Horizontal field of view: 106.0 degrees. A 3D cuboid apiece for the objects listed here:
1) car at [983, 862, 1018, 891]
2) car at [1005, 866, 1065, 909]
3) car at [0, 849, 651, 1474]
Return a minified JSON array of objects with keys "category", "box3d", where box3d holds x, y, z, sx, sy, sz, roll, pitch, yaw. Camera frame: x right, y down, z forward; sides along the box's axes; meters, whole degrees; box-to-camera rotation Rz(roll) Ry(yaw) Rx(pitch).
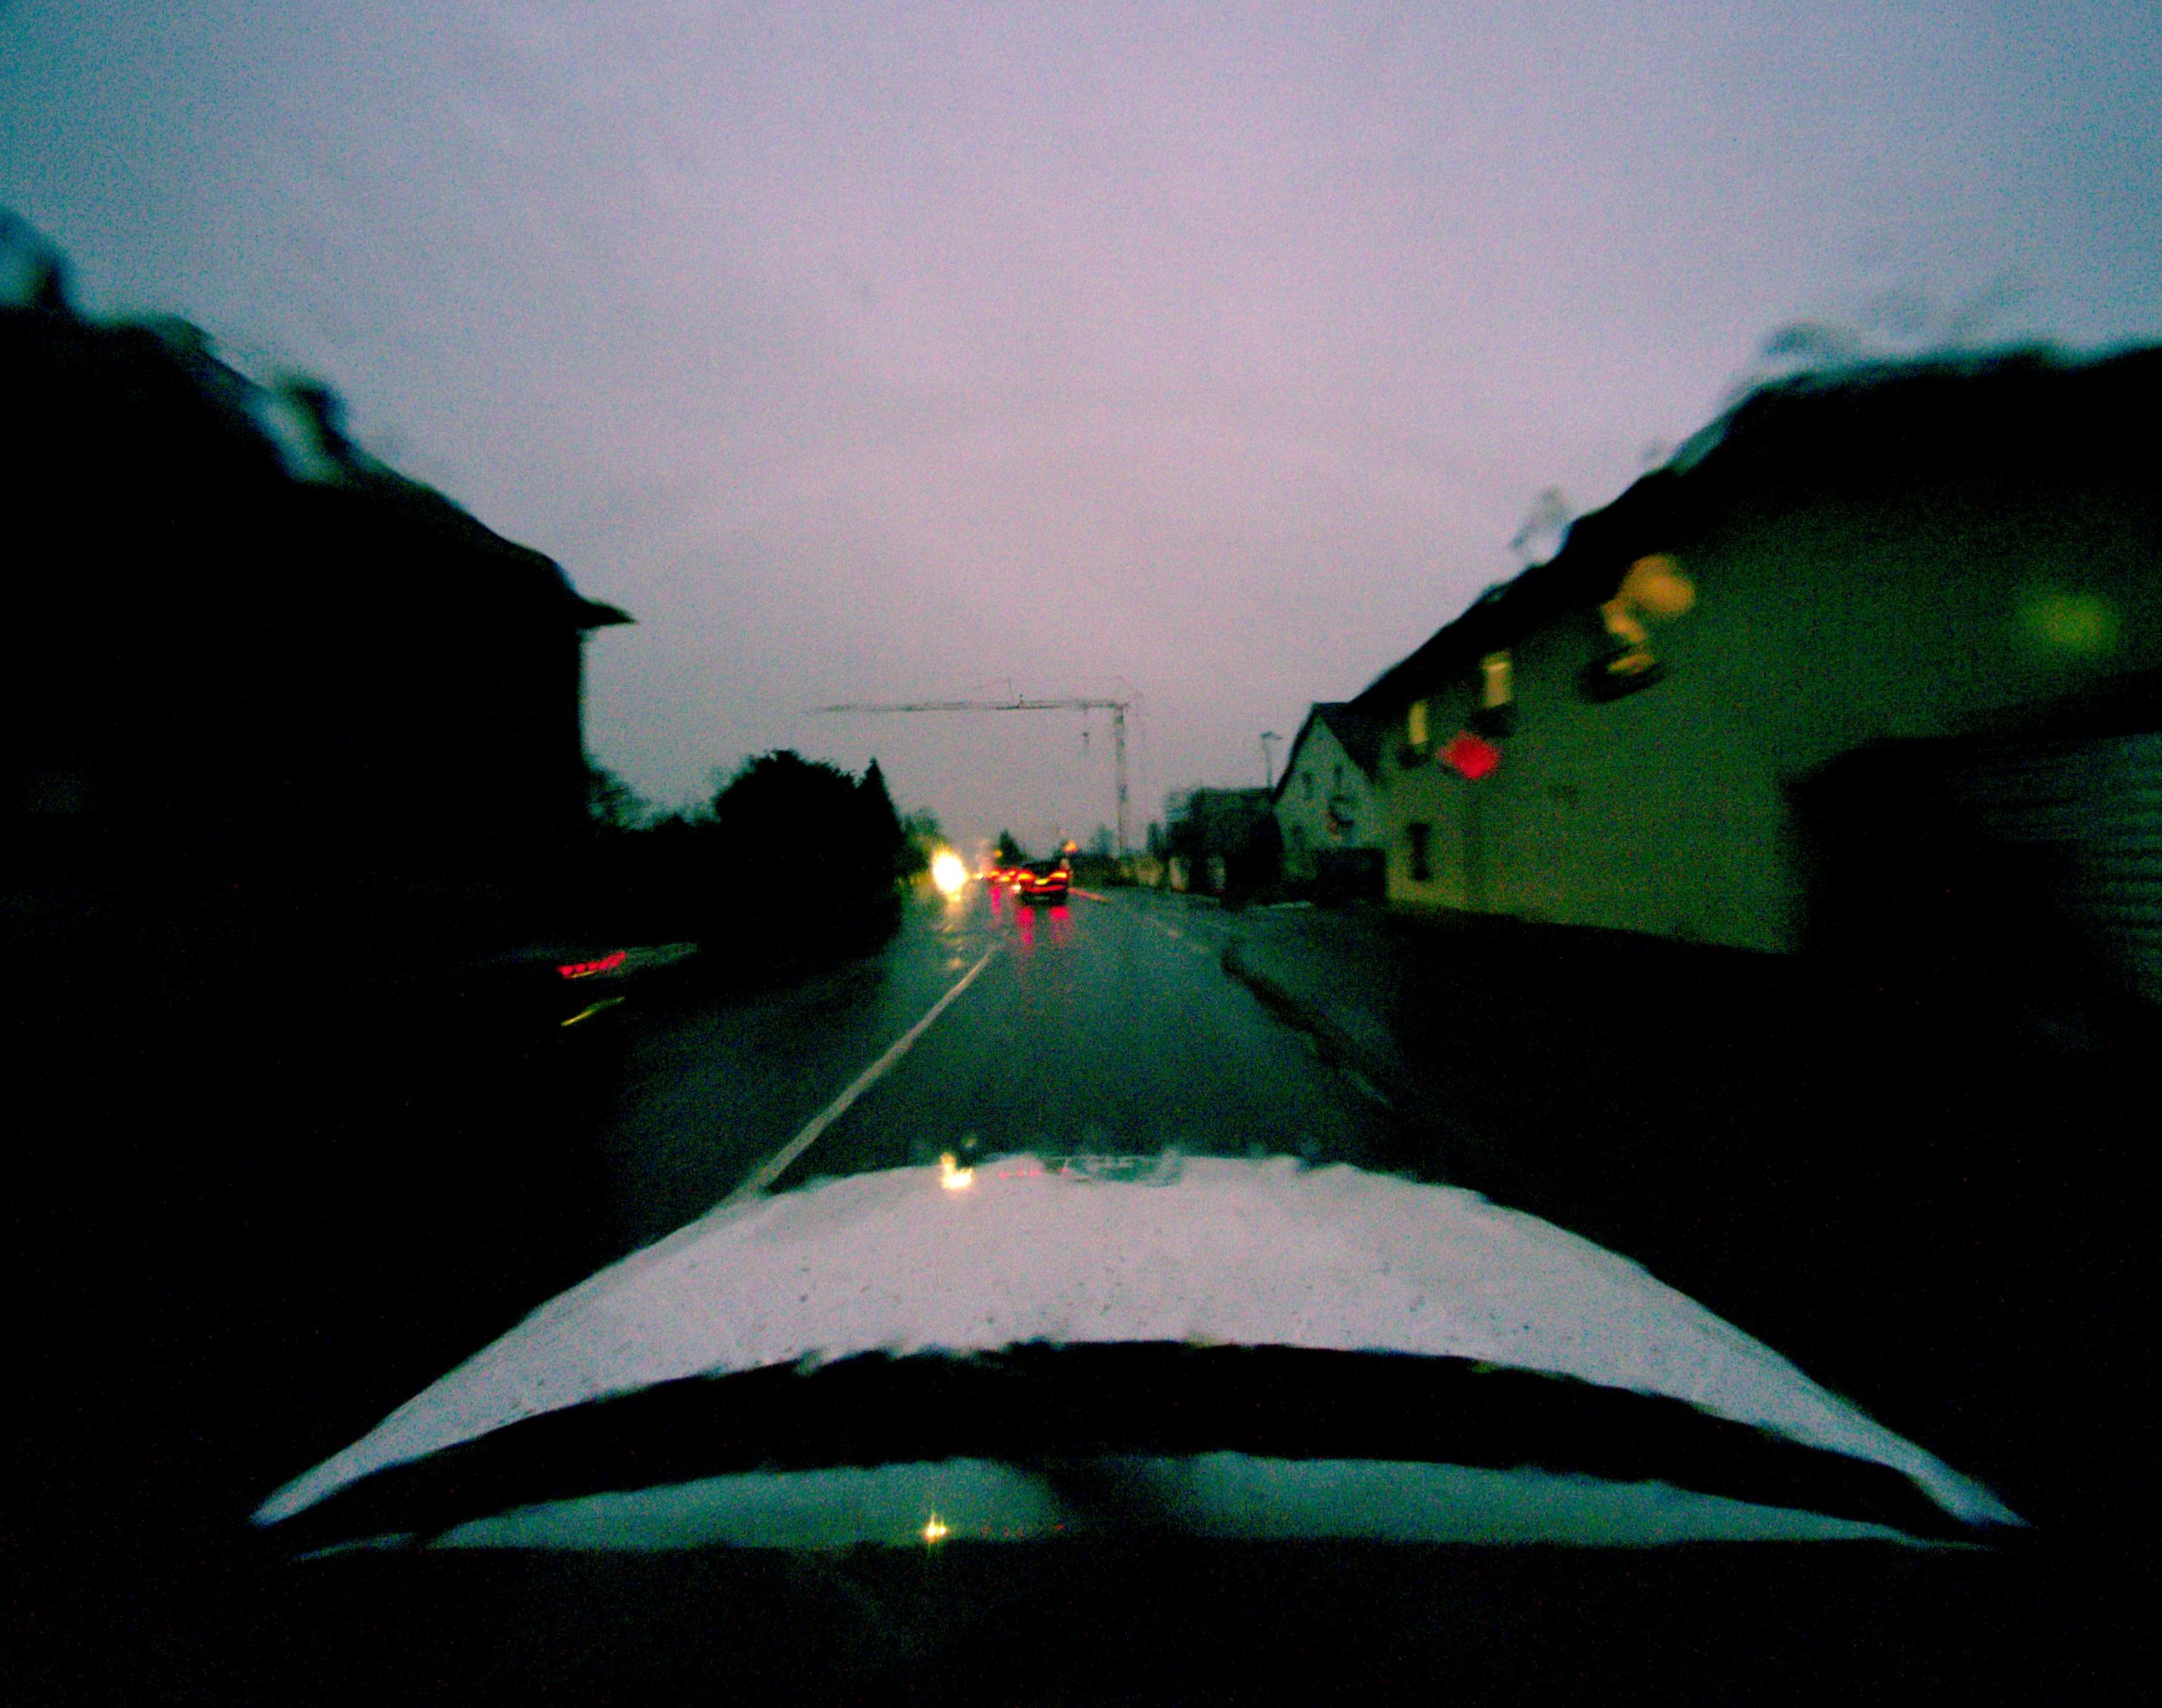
[{"category":"car","box3d":[-5.855,1.628,58.864,1.996,1.881,3.982,-4,0,-13]},{"category":"car","box3d":[-2.030,1.404,34.621,2.047,1.573,4.688,-3,-1,-9]},{"category":"car","box3d":[-3.706,0.842,2.948,1.869,1.585,4.290,-4,0,1]}]
